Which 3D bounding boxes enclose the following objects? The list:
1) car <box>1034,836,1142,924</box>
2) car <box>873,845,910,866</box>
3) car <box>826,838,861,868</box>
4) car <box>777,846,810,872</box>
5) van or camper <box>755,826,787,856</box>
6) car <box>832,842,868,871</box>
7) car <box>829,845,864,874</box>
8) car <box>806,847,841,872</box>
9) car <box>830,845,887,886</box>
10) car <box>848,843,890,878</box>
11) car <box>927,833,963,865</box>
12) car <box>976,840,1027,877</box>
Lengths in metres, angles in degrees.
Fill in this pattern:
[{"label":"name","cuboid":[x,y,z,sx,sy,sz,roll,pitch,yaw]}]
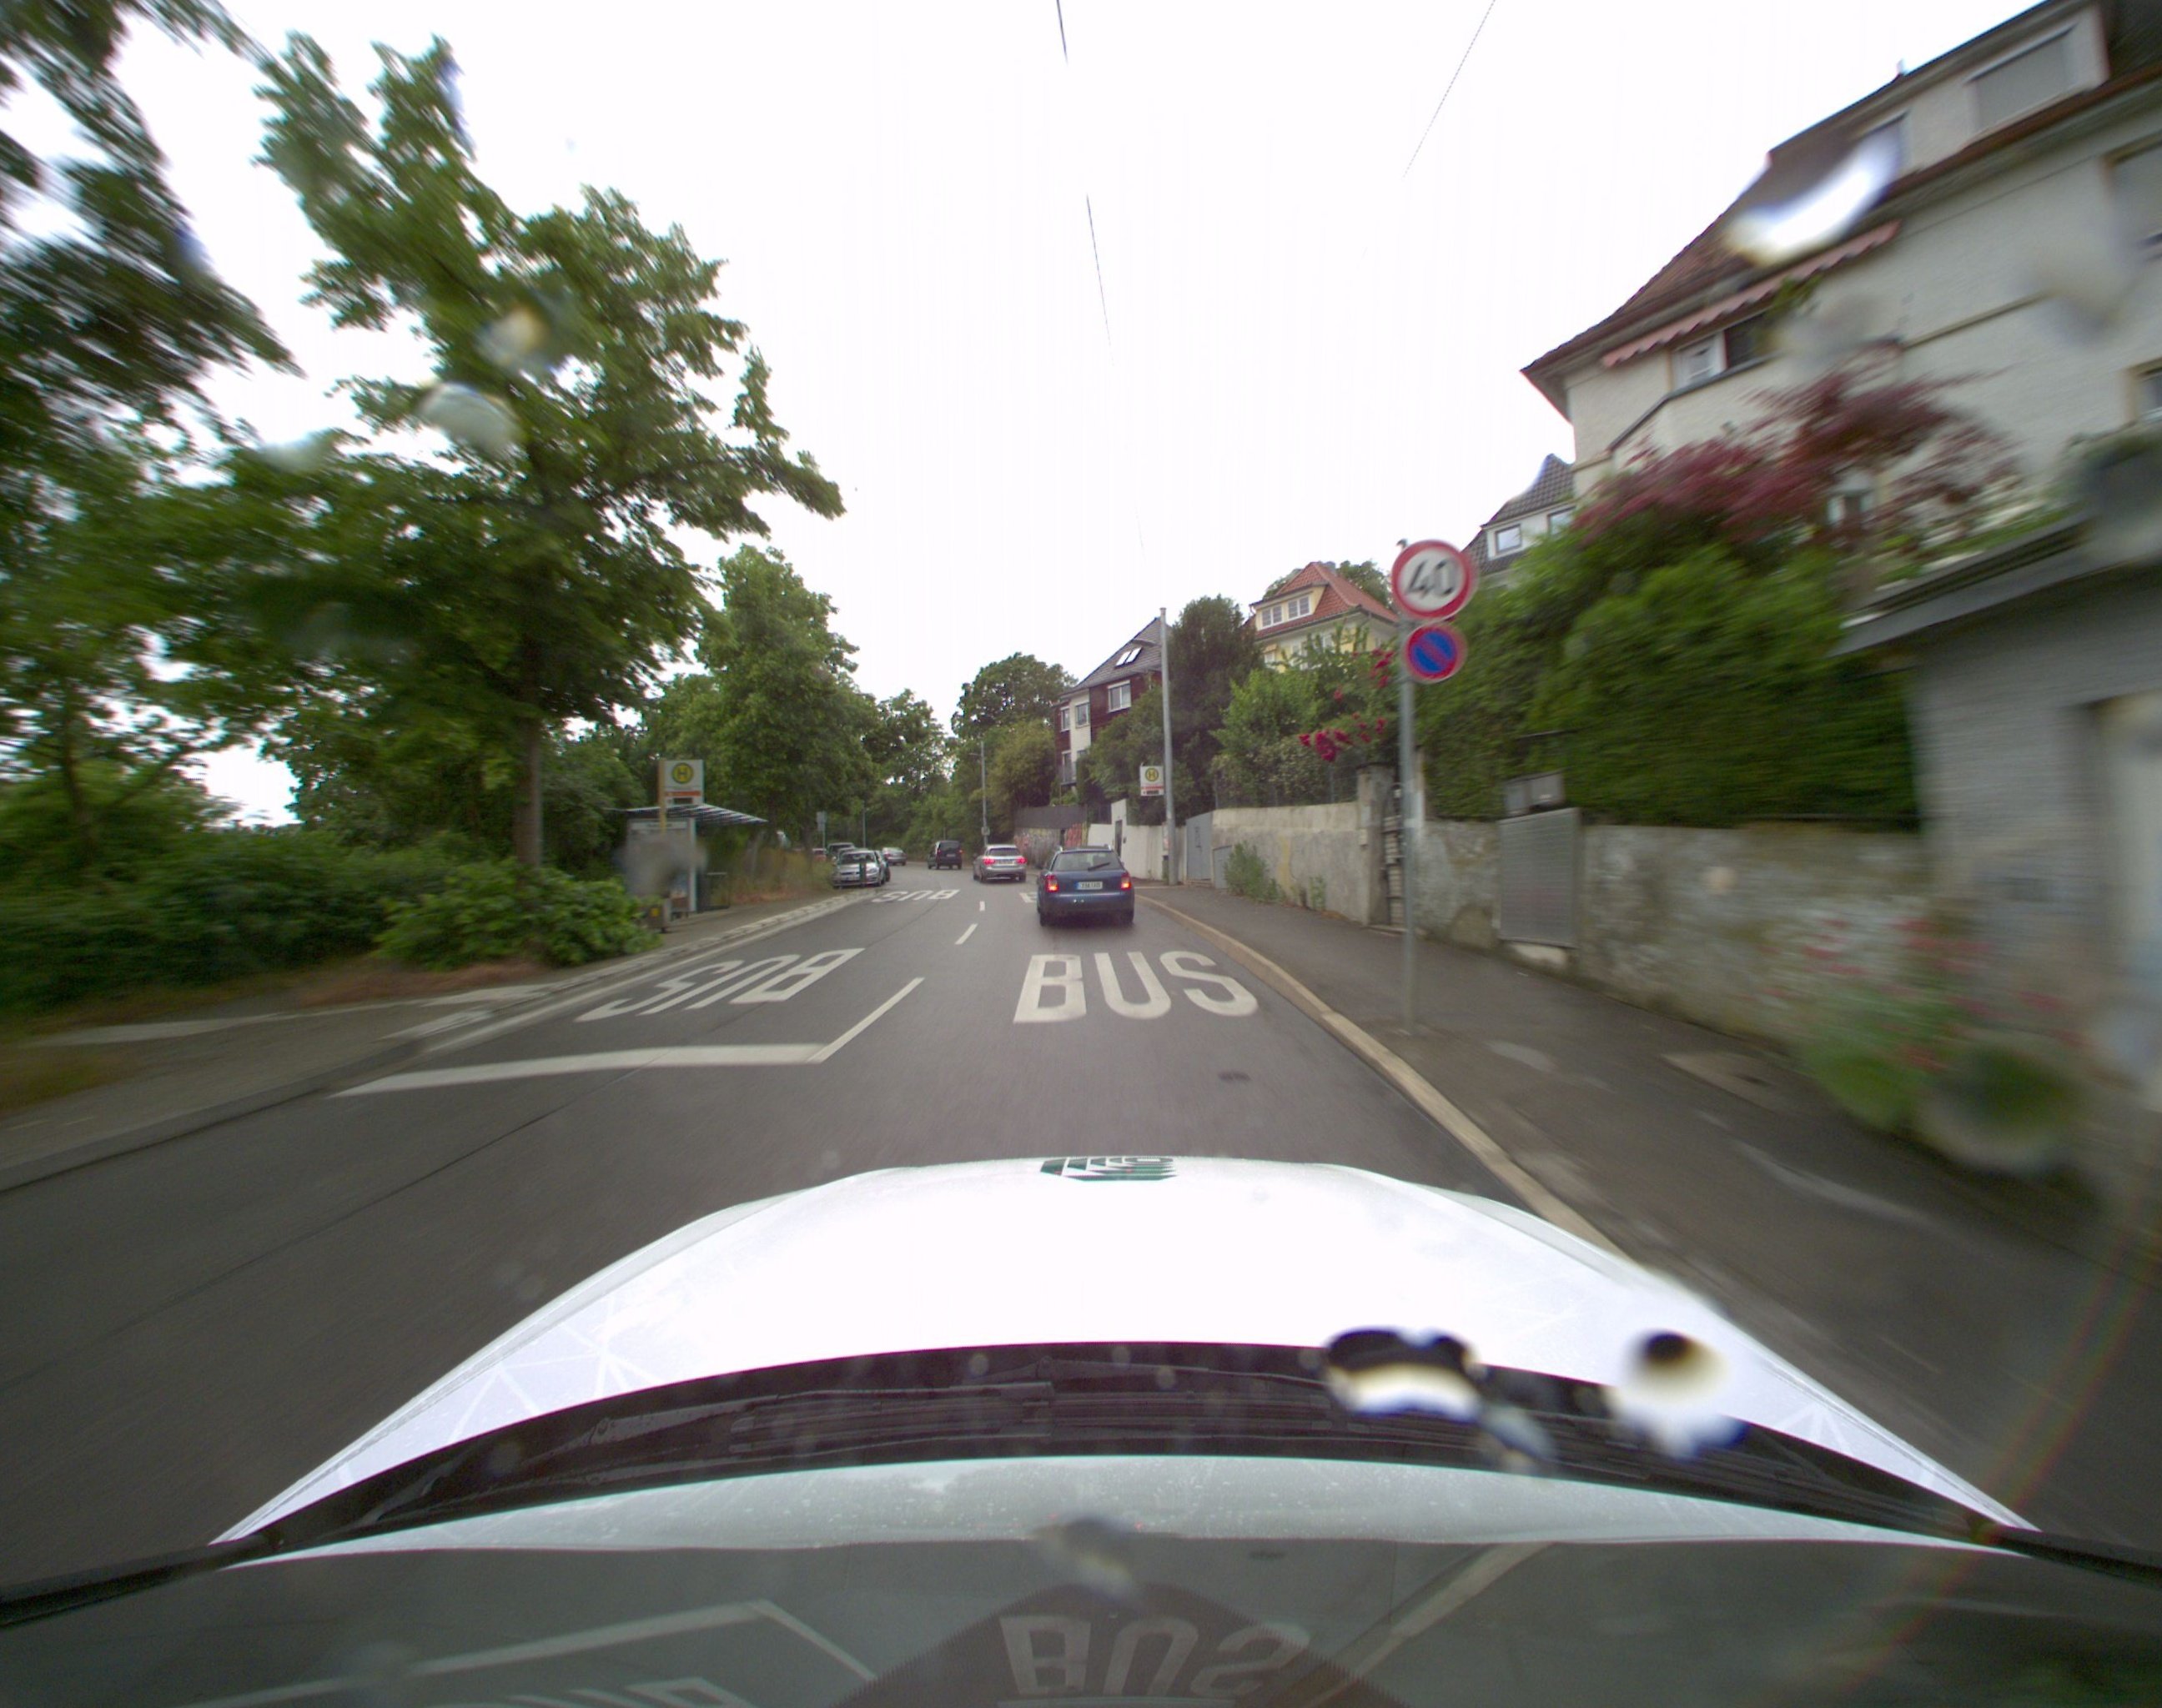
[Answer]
[{"label":"car","cuboid":[0.014,0.420,16.055,1.774,1.439,3.994,-3,1,-4]},{"label":"car","cuboid":[-15.139,0.142,64.958,1.777,1.570,3.993,-4,1,-29]},{"label":"car","cuboid":[-15.757,-0.065,53.895,1.844,1.843,3.874,-4,1,-21]},{"label":"car","cuboid":[-23.724,0.396,67.162,2.005,2.013,3.965,-4,1,-27]},{"label":"van or camper","cuboid":[-29.114,-1.205,76.400,1.793,2.651,3.946,-4,1,-35]},{"label":"car","cuboid":[-14.024,0.136,49.335,1.680,1.551,3.876,-4,1,-20]},{"label":"car","cuboid":[-12.647,0.267,44.116,1.677,1.426,3.979,-4,1,-15]},{"label":"car","cuboid":[-19.548,0.409,61.751,2.003,1.727,3.968,-4,1,-24]},{"label":"car","cuboid":[-8.719,0.392,32.188,1.674,1.426,3.987,-3,1,-9]},{"label":"car","cuboid":[-9.639,0.263,37.252,1.676,1.426,3.982,-3,1,-13]},{"label":"car","cuboid":[-8.854,-0.311,52.926,1.734,1.894,4.032,-4,1,-16]},{"label":"car","cuboid":[-3.268,0.160,32.743,1.907,1.388,4.339,1,0,-8]}]
